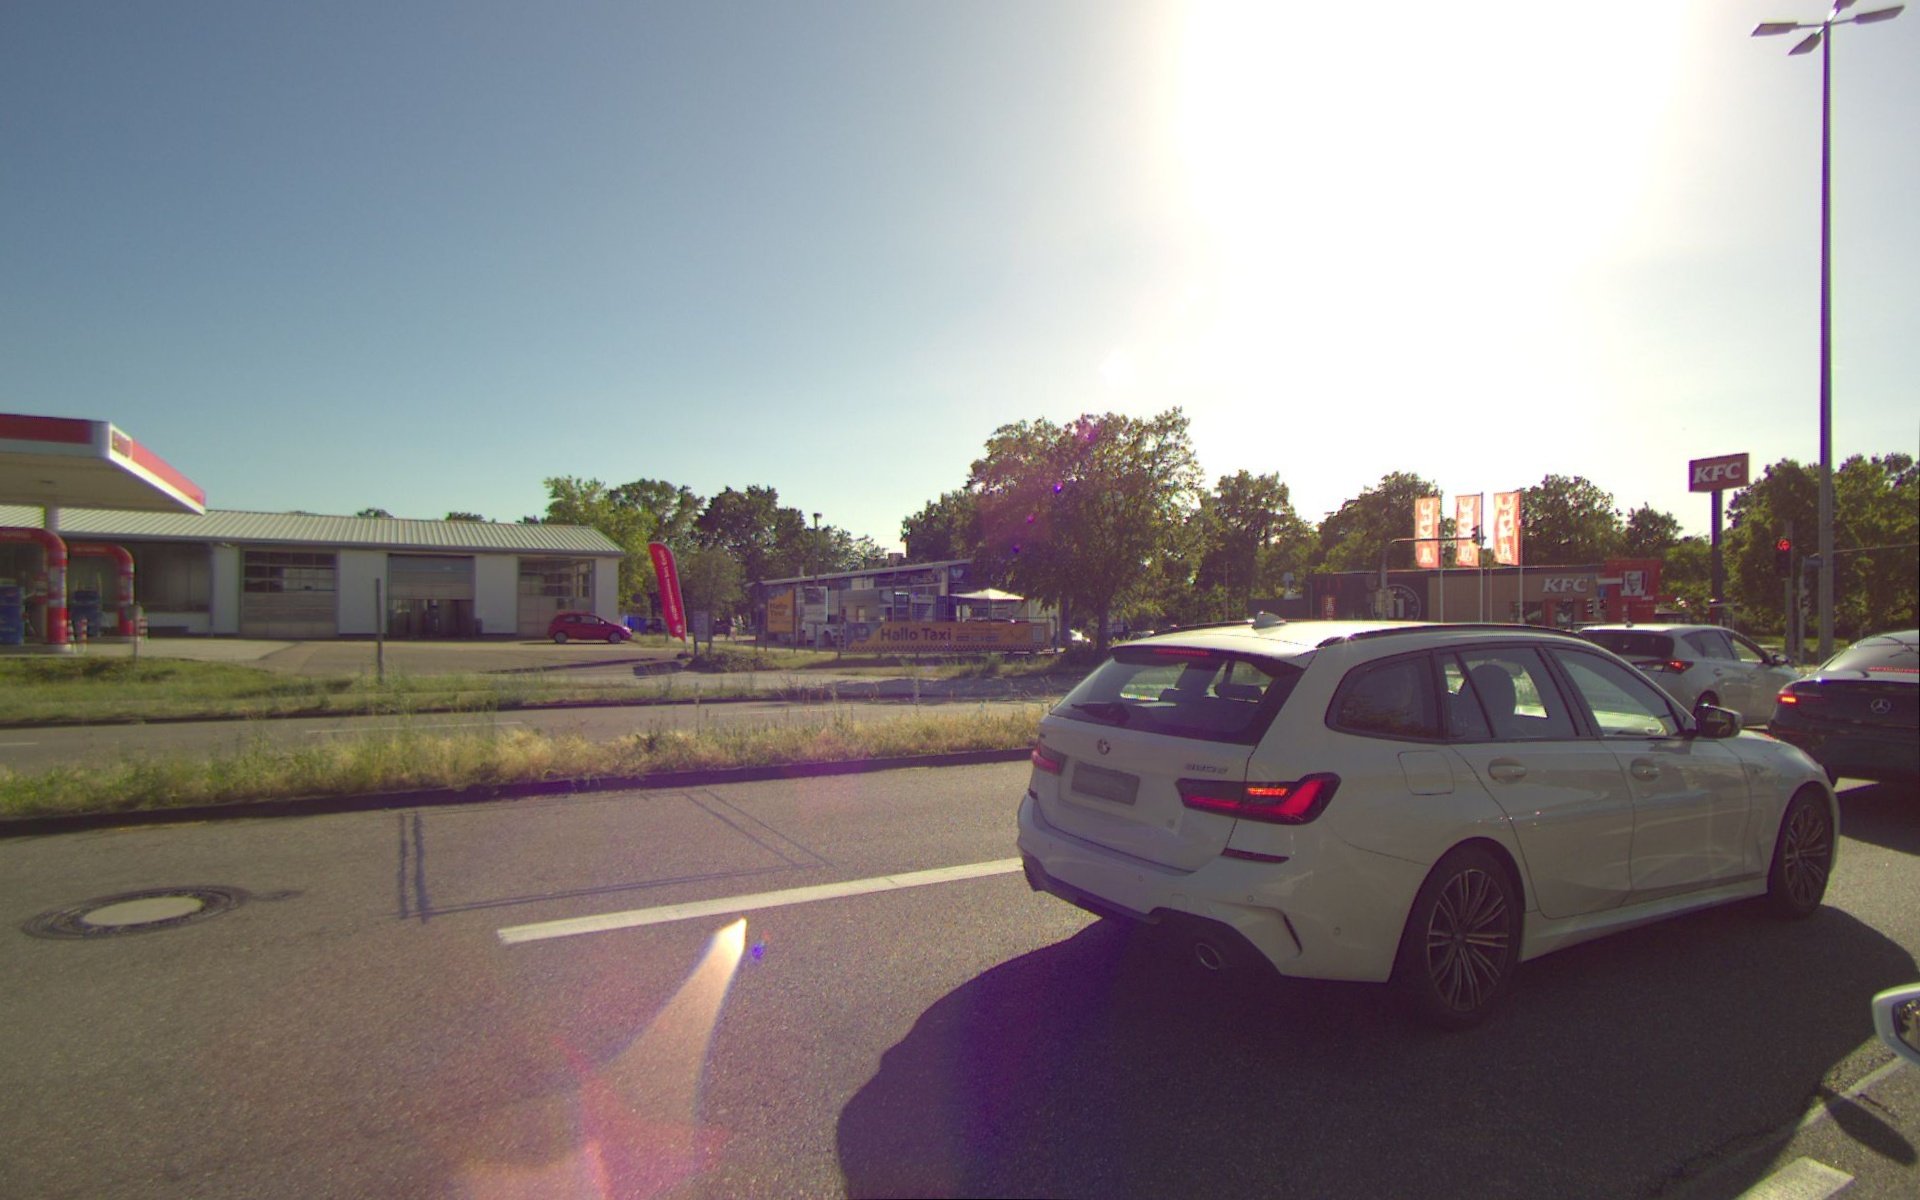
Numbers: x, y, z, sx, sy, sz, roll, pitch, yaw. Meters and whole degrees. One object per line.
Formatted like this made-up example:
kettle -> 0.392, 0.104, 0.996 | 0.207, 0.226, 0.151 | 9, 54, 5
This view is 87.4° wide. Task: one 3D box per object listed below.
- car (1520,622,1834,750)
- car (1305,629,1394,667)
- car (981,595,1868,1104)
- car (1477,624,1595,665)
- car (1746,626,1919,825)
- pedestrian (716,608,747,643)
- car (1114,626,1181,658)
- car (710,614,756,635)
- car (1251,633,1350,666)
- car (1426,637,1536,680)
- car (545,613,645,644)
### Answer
car -> 9.681, 1.047, 13.495 | 4.352, 1.448, 1.848 | 1, -1, -30
car -> 19.627, 2.382, 50.809 | 1.802, 1.805, 4.021 | 1, -1, -28
car -> 2.430, 0.794, 4.910 | 4.409, 1.529, 1.760 | 1, -1, -30
car -> 24.491, 1.854, 42.851 | 1.805, 1.616, 4.014 | 1, -1, -33
car -> 8.808, 0.962, 8.630 | 4.409, 1.433, 1.760 | 1, -1, -30
pedestrian -> -11.956, 1.339, 52.576 | 1.140, 1.787, 1.096 | 0, -1, 36
car -> 10.956, 2.413, 58.975 | 1.738, 1.751, 3.969 | 1, -1, -29
car -> -19.918, 2.132, 88.264 | 2.085, 1.840, 4.000 | 0, -1, 20
car -> 16.604, 2.362, 49.189 | 1.839, 1.448, 4.705 | 1, -1, -26
car -> 20.045, 2.222, 38.828 | 1.791, 1.448, 4.045 | 1, -1, -8
car -> -18.010, 1.417, 49.558 | 4.486, 1.458, 1.741 | 1, -1, -26
